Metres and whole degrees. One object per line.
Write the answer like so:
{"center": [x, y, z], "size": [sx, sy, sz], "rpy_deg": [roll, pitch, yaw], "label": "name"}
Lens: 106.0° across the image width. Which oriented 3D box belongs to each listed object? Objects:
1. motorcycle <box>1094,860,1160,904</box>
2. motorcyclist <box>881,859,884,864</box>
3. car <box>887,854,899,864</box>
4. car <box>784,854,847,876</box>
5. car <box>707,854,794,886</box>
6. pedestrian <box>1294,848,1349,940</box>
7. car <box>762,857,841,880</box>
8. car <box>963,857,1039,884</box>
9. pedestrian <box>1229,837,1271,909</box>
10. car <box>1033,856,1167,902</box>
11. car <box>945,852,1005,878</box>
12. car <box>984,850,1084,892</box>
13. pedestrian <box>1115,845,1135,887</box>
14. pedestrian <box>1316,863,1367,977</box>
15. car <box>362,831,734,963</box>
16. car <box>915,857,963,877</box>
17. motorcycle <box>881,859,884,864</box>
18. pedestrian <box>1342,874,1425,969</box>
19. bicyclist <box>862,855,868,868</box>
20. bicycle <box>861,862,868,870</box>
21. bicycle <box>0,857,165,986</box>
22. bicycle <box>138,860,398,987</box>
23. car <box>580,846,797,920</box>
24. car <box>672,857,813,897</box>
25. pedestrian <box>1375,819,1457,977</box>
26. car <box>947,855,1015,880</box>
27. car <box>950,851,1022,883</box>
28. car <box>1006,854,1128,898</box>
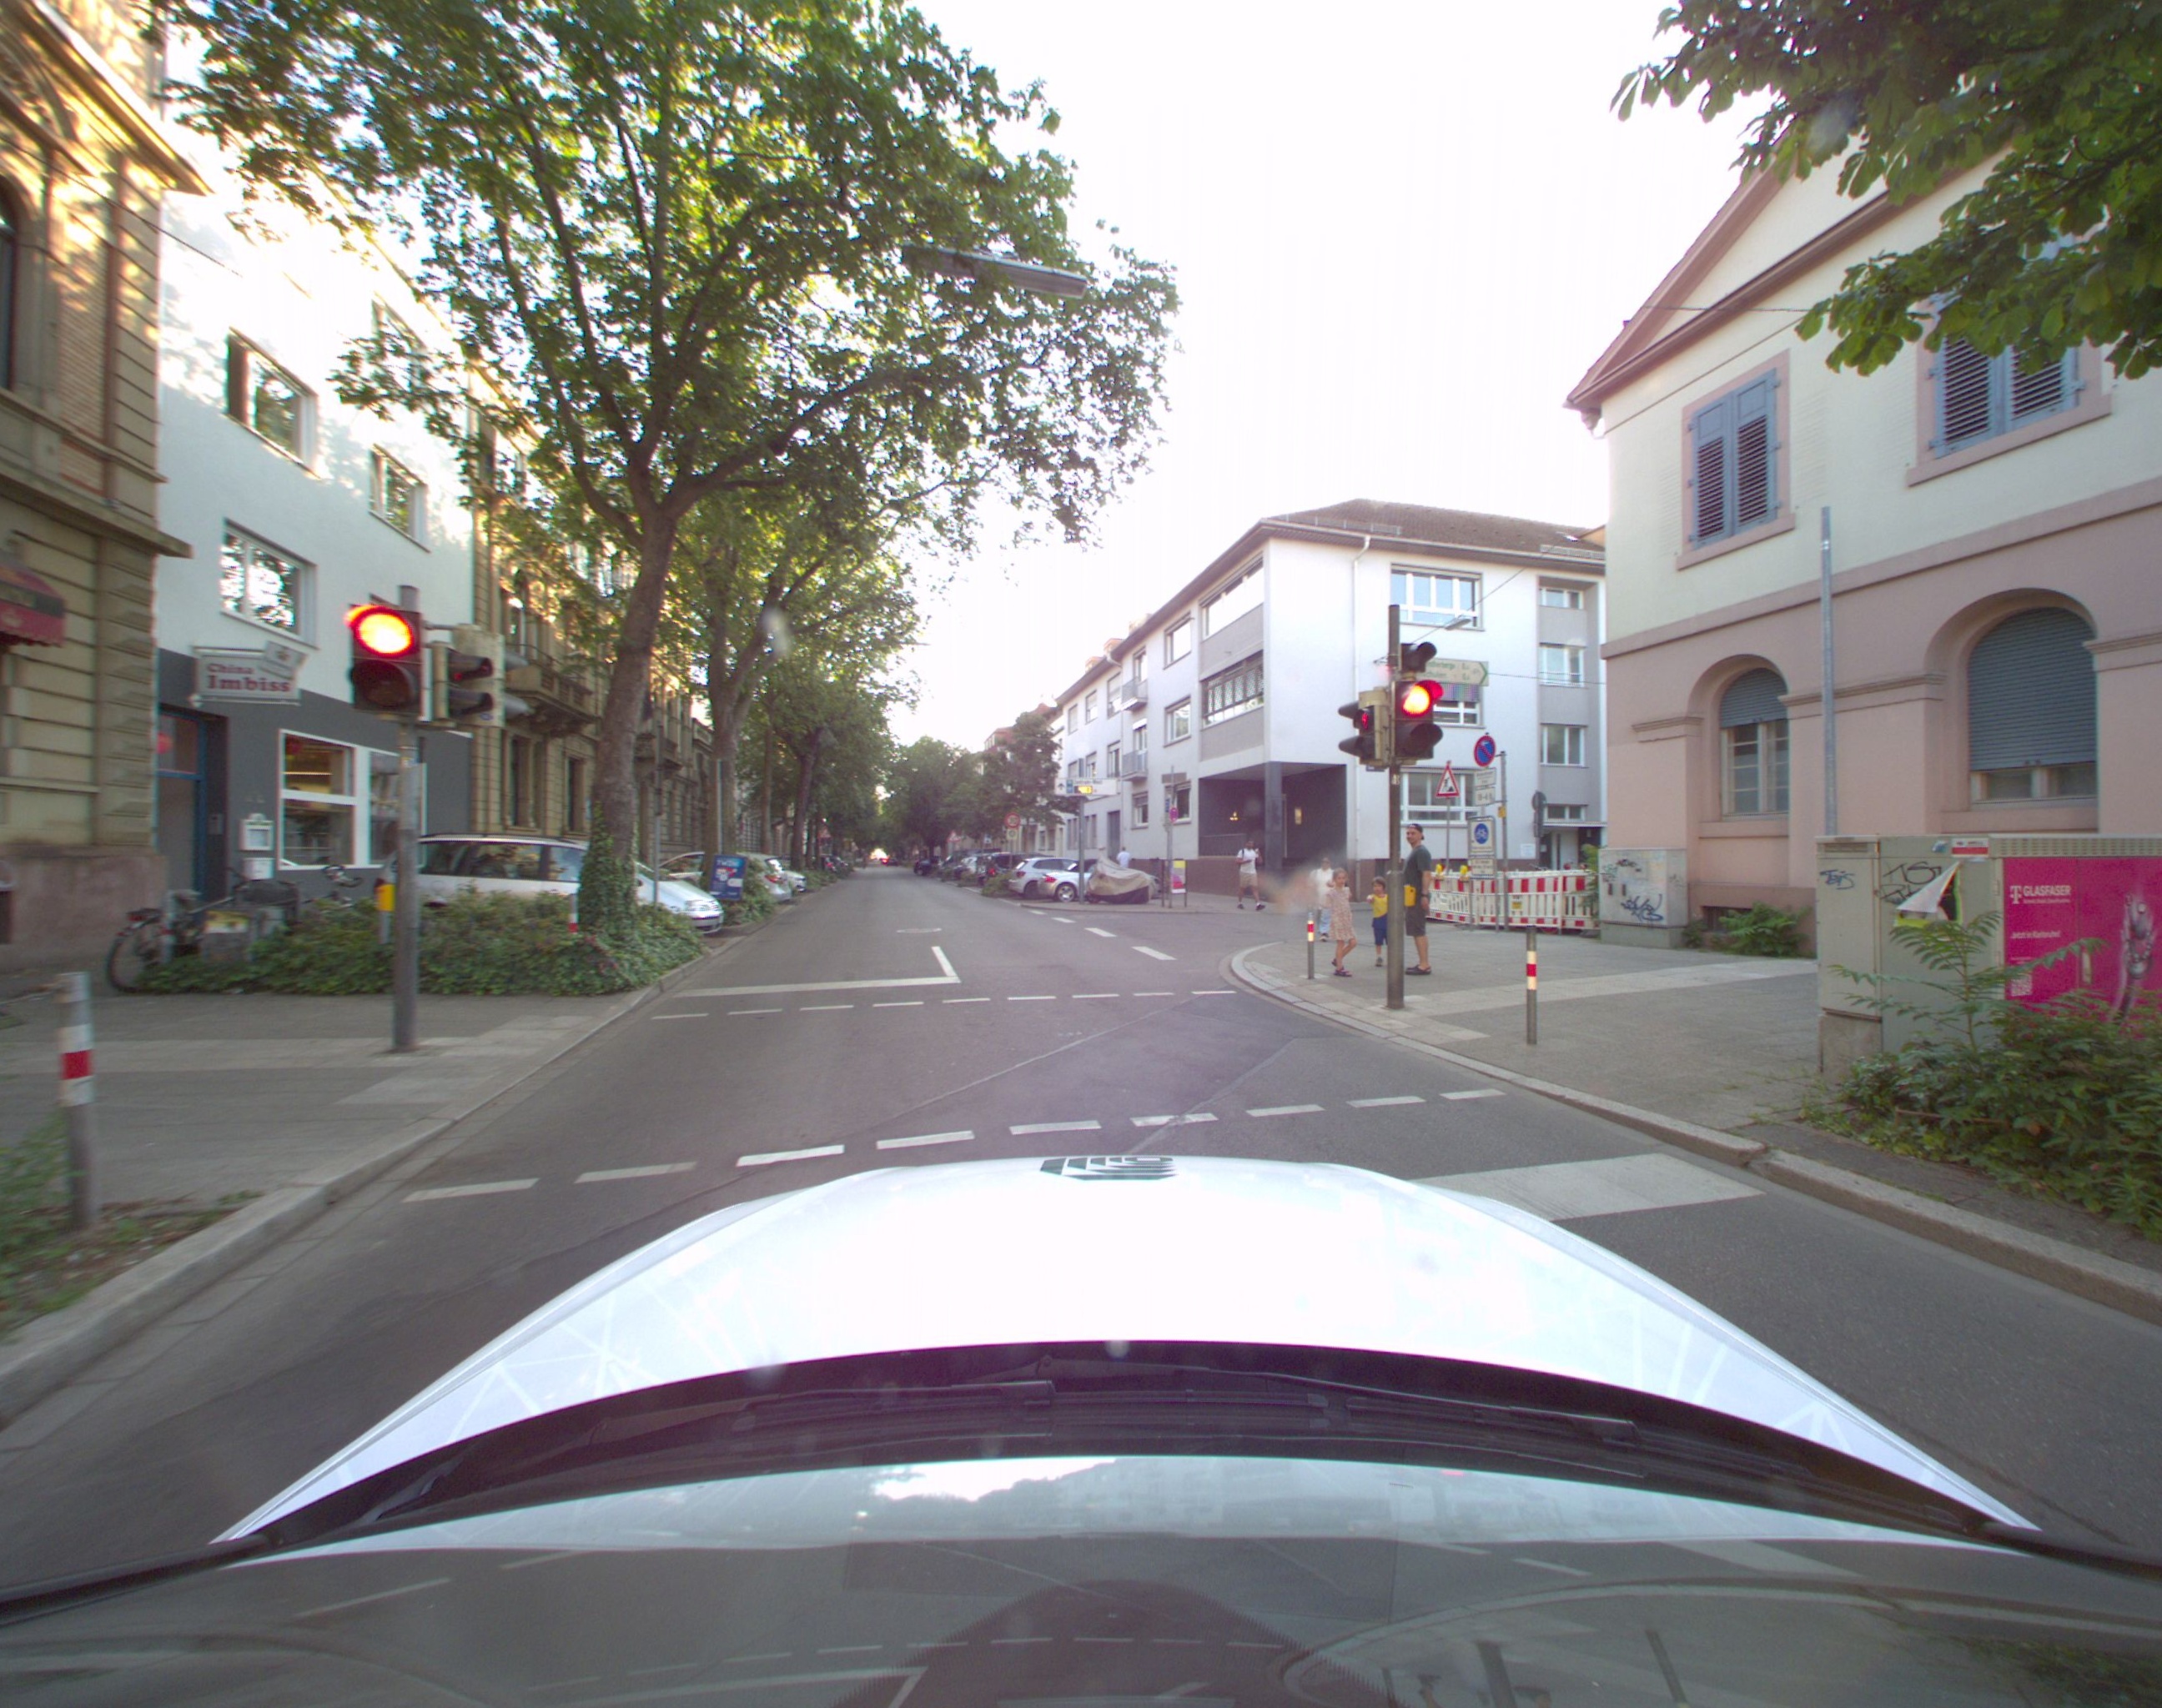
{"center": [1.291, 0.777, 23.094], "size": [1.797, 1.199, 0.612], "rpy_deg": [-1, 0, -5], "label": "motorcycle"}
{"center": [-46.658, 1.805, 191.518], "size": [0.819, 1.236, 0.846], "rpy_deg": [1, -1, -14], "label": "motorcyclist"}
{"center": [-30.548, 0.829, 132.134], "size": [1.828, 1.561, 4.007], "rpy_deg": [1, -1, -15], "label": "car"}
{"center": [-20.685, 0.833, 63.674], "size": [4.554, 1.691, 1.824], "rpy_deg": [0, 0, -14], "label": "car"}
{"center": [-17.539, 0.826, 43.436], "size": [4.044, 1.590, 1.824], "rpy_deg": [0, 0, -14], "label": "car"}
{"center": [4.047, 0.654, 13.688], "size": [0.767, 1.501, 0.806], "rpy_deg": [-2, -1, 23], "label": "pedestrian"}
{"center": [-17.720, 0.920, 51.854], "size": [4.554, 1.410, 1.824], "rpy_deg": [0, 0, -14], "label": "car"}
{"center": [-4.494, 0.901, 45.713], "size": [4.020, 1.409, 1.698], "rpy_deg": [-1, 0, -15], "label": "car"}
{"center": [4.463, 0.490, 21.541], "size": [0.768, 1.841, 0.939], "rpy_deg": [1, 0, -13], "label": "pedestrian"}
{"center": [0.594, 0.764, 26.199], "size": [4.020, 1.342, 1.699], "rpy_deg": [-1, 0, -14], "label": "car"}
{"center": [-7.543, 0.781, 57.747], "size": [4.020, 1.830, 1.698], "rpy_deg": [0, 0, -15], "label": "car"}
{"center": [-2.026, 0.707, 34.793], "size": [4.020, 1.690, 1.698], "rpy_deg": [-1, 0, -15], "label": "car"}
{"center": [1.877, 0.495, 34.615], "size": [0.704, 1.752, 0.697], "rpy_deg": [1, 0, -10], "label": "pedestrian"}
{"center": [3.141, 0.778, 9.859], "size": [0.502, 1.336, 0.542], "rpy_deg": [0, 0, 9], "label": "pedestrian"}
{"center": [-8.080, 0.582, 12.879], "size": [4.559, 1.835, 1.822], "rpy_deg": [0, 0, -17], "label": "car"}
{"center": [-12.134, 1.100, 69.905], "size": [3.976, 1.578, 1.904], "rpy_deg": [1, -1, -9], "label": "car"}
{"center": [-46.655, 1.803, 191.498], "size": [0.819, 1.236, 2.015], "rpy_deg": [1, -1, -14], "label": "motorcycle"}
{"center": [3.879, 0.838, 10.464], "size": [0.568, 1.121, 0.830], "rpy_deg": [-1, 1, -24], "label": "pedestrian"}
{"center": [-23.660, 0.818, 89.028], "size": [0.573, 1.470, 0.638], "rpy_deg": [1, -1, -20], "label": "bicyclist"}
{"center": [-23.674, 1.317, 89.043], "size": [0.573, 0.949, 1.732], "rpy_deg": [1, -1, -20], "label": "bicycle"}
{"center": [-10.478, 0.637, 7.956], "size": [0.637, 1.202, 2.553], "rpy_deg": [0, 0, -12], "label": "bicycle"}
{"center": [-8.857, 0.679, 9.095], "size": [0.735, 1.186, 2.622], "rpy_deg": [2, -1, -13], "label": "bicycle"}
{"center": [-9.569, 0.664, 20.243], "size": [4.554, 1.689, 1.824], "rpy_deg": [0, 0, -14], "label": "car"}
{"center": [-12.394, 0.823, 30.089], "size": [4.554, 1.372, 1.824], "rpy_deg": [0, 0, -14], "label": "car"}
{"center": [4.047, 0.491, 9.876], "size": [0.881, 1.815, 0.798], "rpy_deg": [0, 2, 20], "label": "pedestrian"}
{"center": [-6.204, 0.827, 50.605], "size": [4.020, 1.530, 1.698], "rpy_deg": [0, 0, -15], "label": "car"}
{"center": [-5.580, 0.742, 47.831], "size": [4.020, 1.815, 1.698], "rpy_deg": [-1, 0, -15], "label": "car"}
{"center": [-0.509, 0.745, 28.602], "size": [4.020, 1.442, 1.698], "rpy_deg": [-1, 0, -15], "label": "car"}
